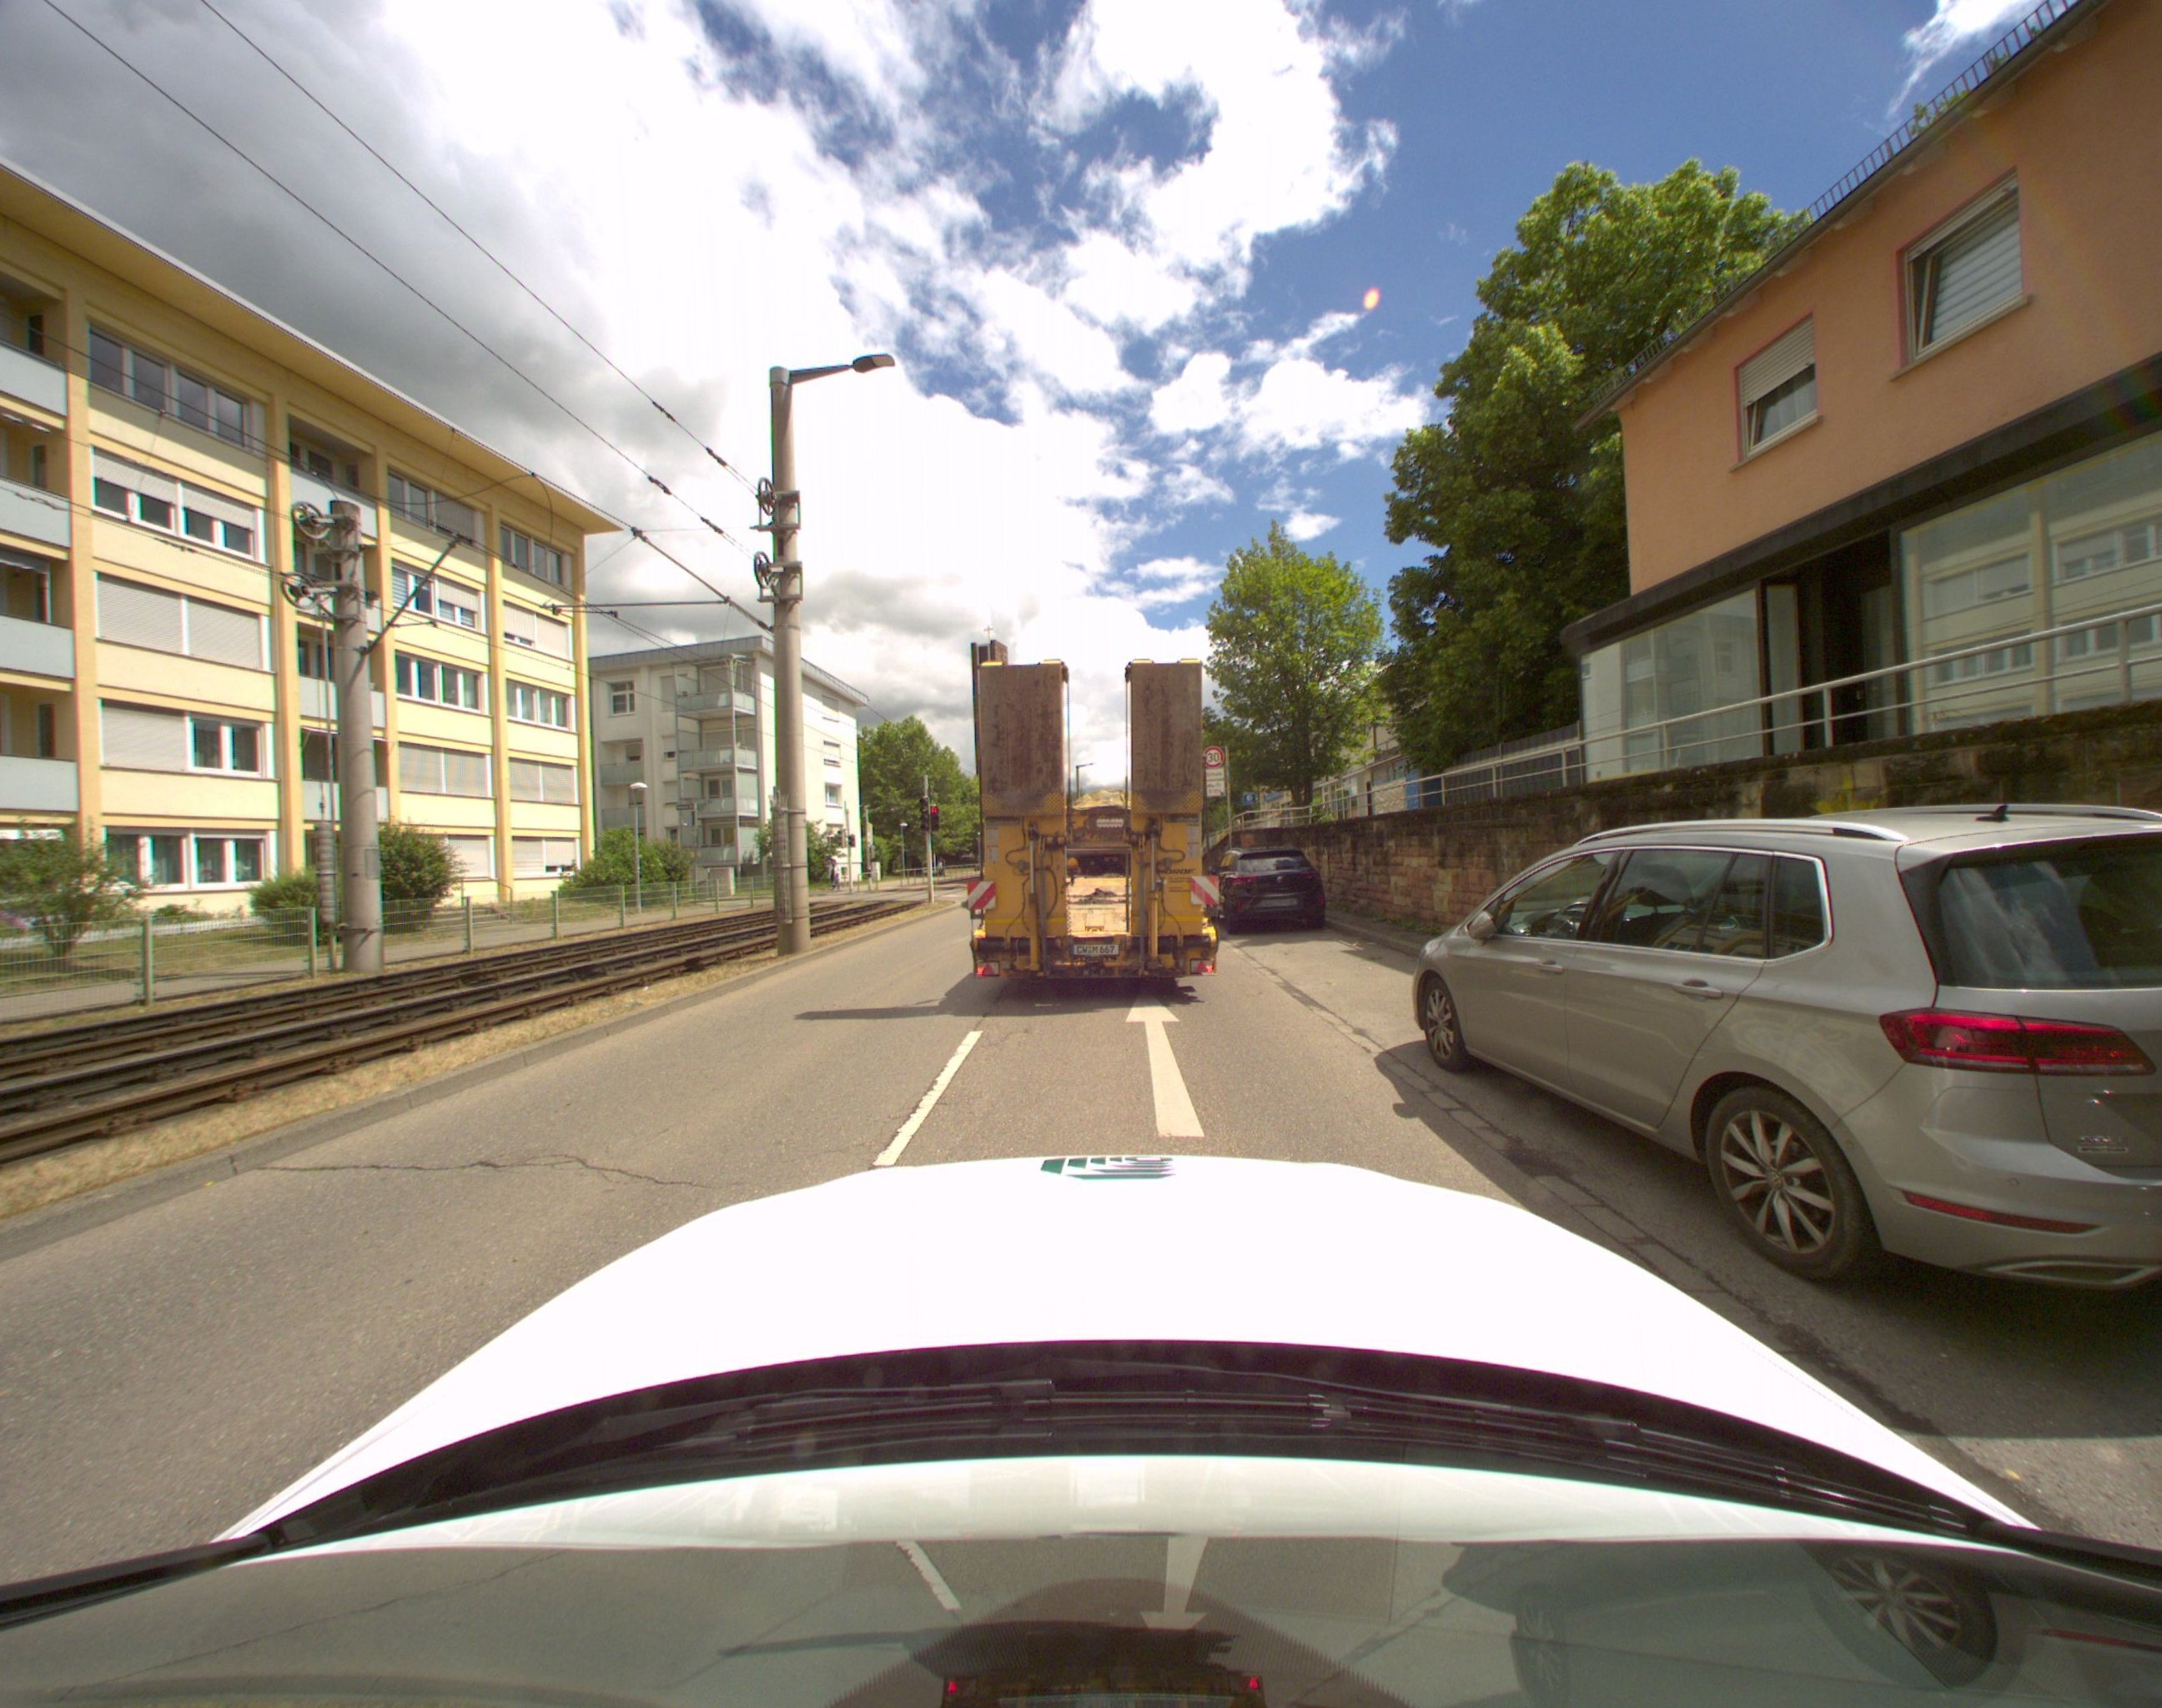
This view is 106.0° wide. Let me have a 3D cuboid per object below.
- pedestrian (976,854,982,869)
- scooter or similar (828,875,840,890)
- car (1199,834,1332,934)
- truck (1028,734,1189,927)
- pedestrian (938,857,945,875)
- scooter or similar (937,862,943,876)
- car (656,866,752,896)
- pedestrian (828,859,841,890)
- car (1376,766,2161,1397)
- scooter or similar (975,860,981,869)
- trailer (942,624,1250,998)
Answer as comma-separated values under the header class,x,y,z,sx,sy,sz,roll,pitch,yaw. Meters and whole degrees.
class,x,y,z,sx,sy,sz,roll,pitch,yaw
pedestrian,-10.643,0.782,84.845,0.562,1.513,0.646,0,0,1
scooter or similar,-12.893,1.501,42.563,0.435,0.747,0.475,-2,0,7
car,3.521,0.530,16.268,1.843,1.639,4.003,-3,0,3
truck,0.625,-0.449,17.983,2.931,3.572,4.880,-2,0,2
pedestrian,-11.645,1.003,68.099,0.346,1.537,0.558,-2,0,5
scooter or similar,-11.692,1.242,67.481,0.336,1.057,0.688,-2,0,4
car,-19.199,1.374,41.549,3.963,1.345,1.906,-2,0,9
pedestrian,-13.026,1.070,43.061,0.435,1.581,0.475,-2,0,6
car,3.213,0.558,4.257,1.783,1.617,4.249,-3,0,1
scooter or similar,-10.684,1.061,84.189,0.504,0.971,0.646,0,0,1
trailer,0.354,-0.435,12.447,2.933,3.601,8.690,-2,0,3
